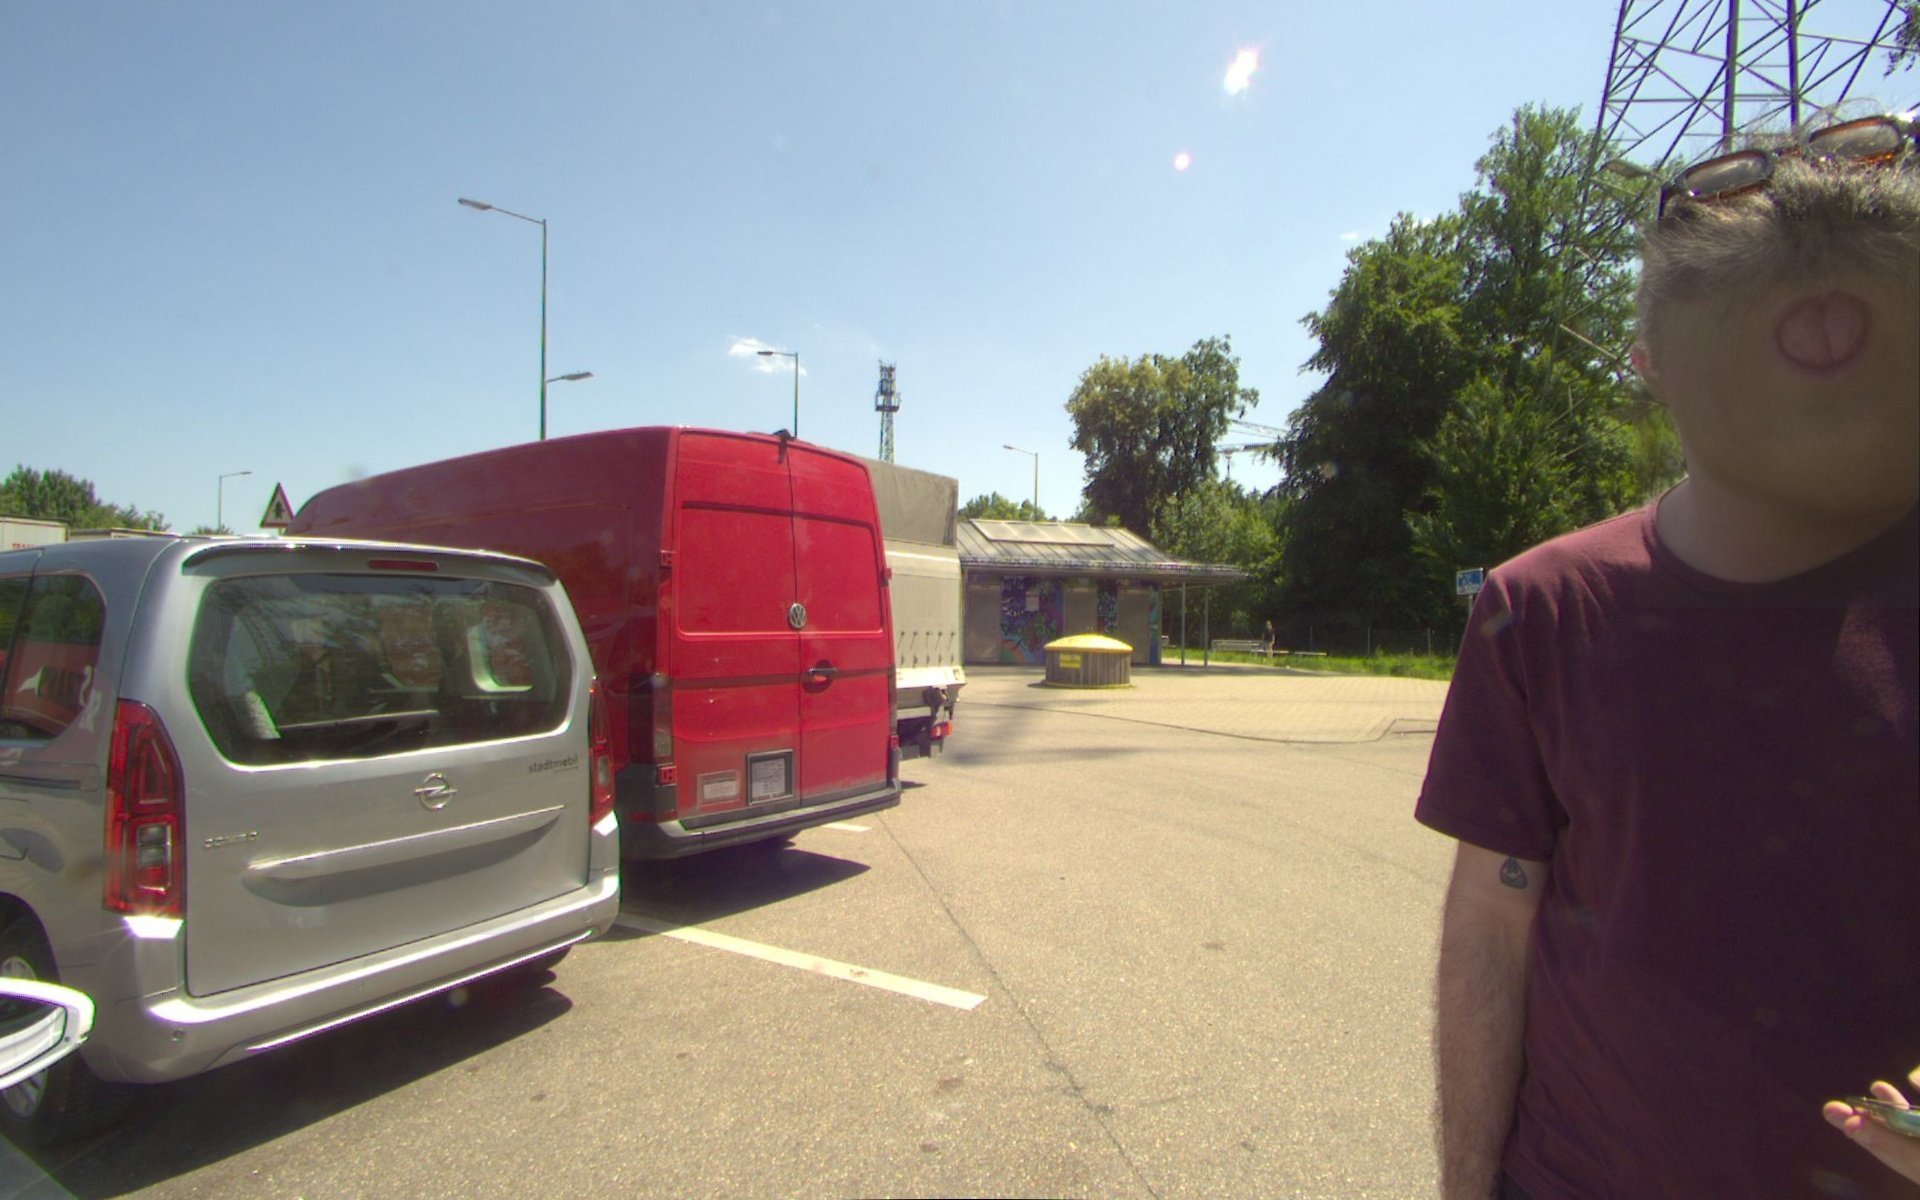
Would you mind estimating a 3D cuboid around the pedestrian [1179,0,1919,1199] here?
[{"bbox_3d":[0.737,0.553,0.807,0.849,1.857,0.860,-1,-1,32],"label":"pedestrian"}]

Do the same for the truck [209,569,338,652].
[{"bbox_3d":[-32.085,0.462,46.761,5.813,3.566,2.799,2,-2,33],"label":"truck"}]

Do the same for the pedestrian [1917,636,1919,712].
[{"bbox_3d":[17.267,1.311,17.478,0.690,1.352,0.561,-1,-1,33],"label":"pedestrian"}]

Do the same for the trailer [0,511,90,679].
[{"bbox_3d":[-29.007,-0.263,28.142,14.184,4.040,2.808,2,-2,33],"label":"trailer"}]

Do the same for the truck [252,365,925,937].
[{"bbox_3d":[-2.880,0.331,7.049,5.238,2.655,1.972,-2,-2,38],"label":"truck"}]

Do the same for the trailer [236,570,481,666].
[{"bbox_3d":[-26.090,0.640,42.904,14.184,3.552,2.808,2,-2,33],"label":"trailer"}]

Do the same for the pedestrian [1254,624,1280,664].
[{"bbox_3d":[12.709,1.811,41.473,0.730,1.658,0.785,-1,-2,45],"label":"pedestrian"}]

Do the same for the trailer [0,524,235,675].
[{"bbox_3d":[-27.944,-0.106,31.788,14.184,4.040,2.808,2,-2,33],"label":"trailer"}]

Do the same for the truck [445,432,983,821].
[{"bbox_3d":[-2.729,0.298,10.288,5.582,2.949,2.449,-2,-2,37],"label":"truck"}]

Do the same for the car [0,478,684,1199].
[{"bbox_3d":[-3.373,0.681,4.249,4.113,1.887,1.868,1,-2,31],"label":"car"}]
